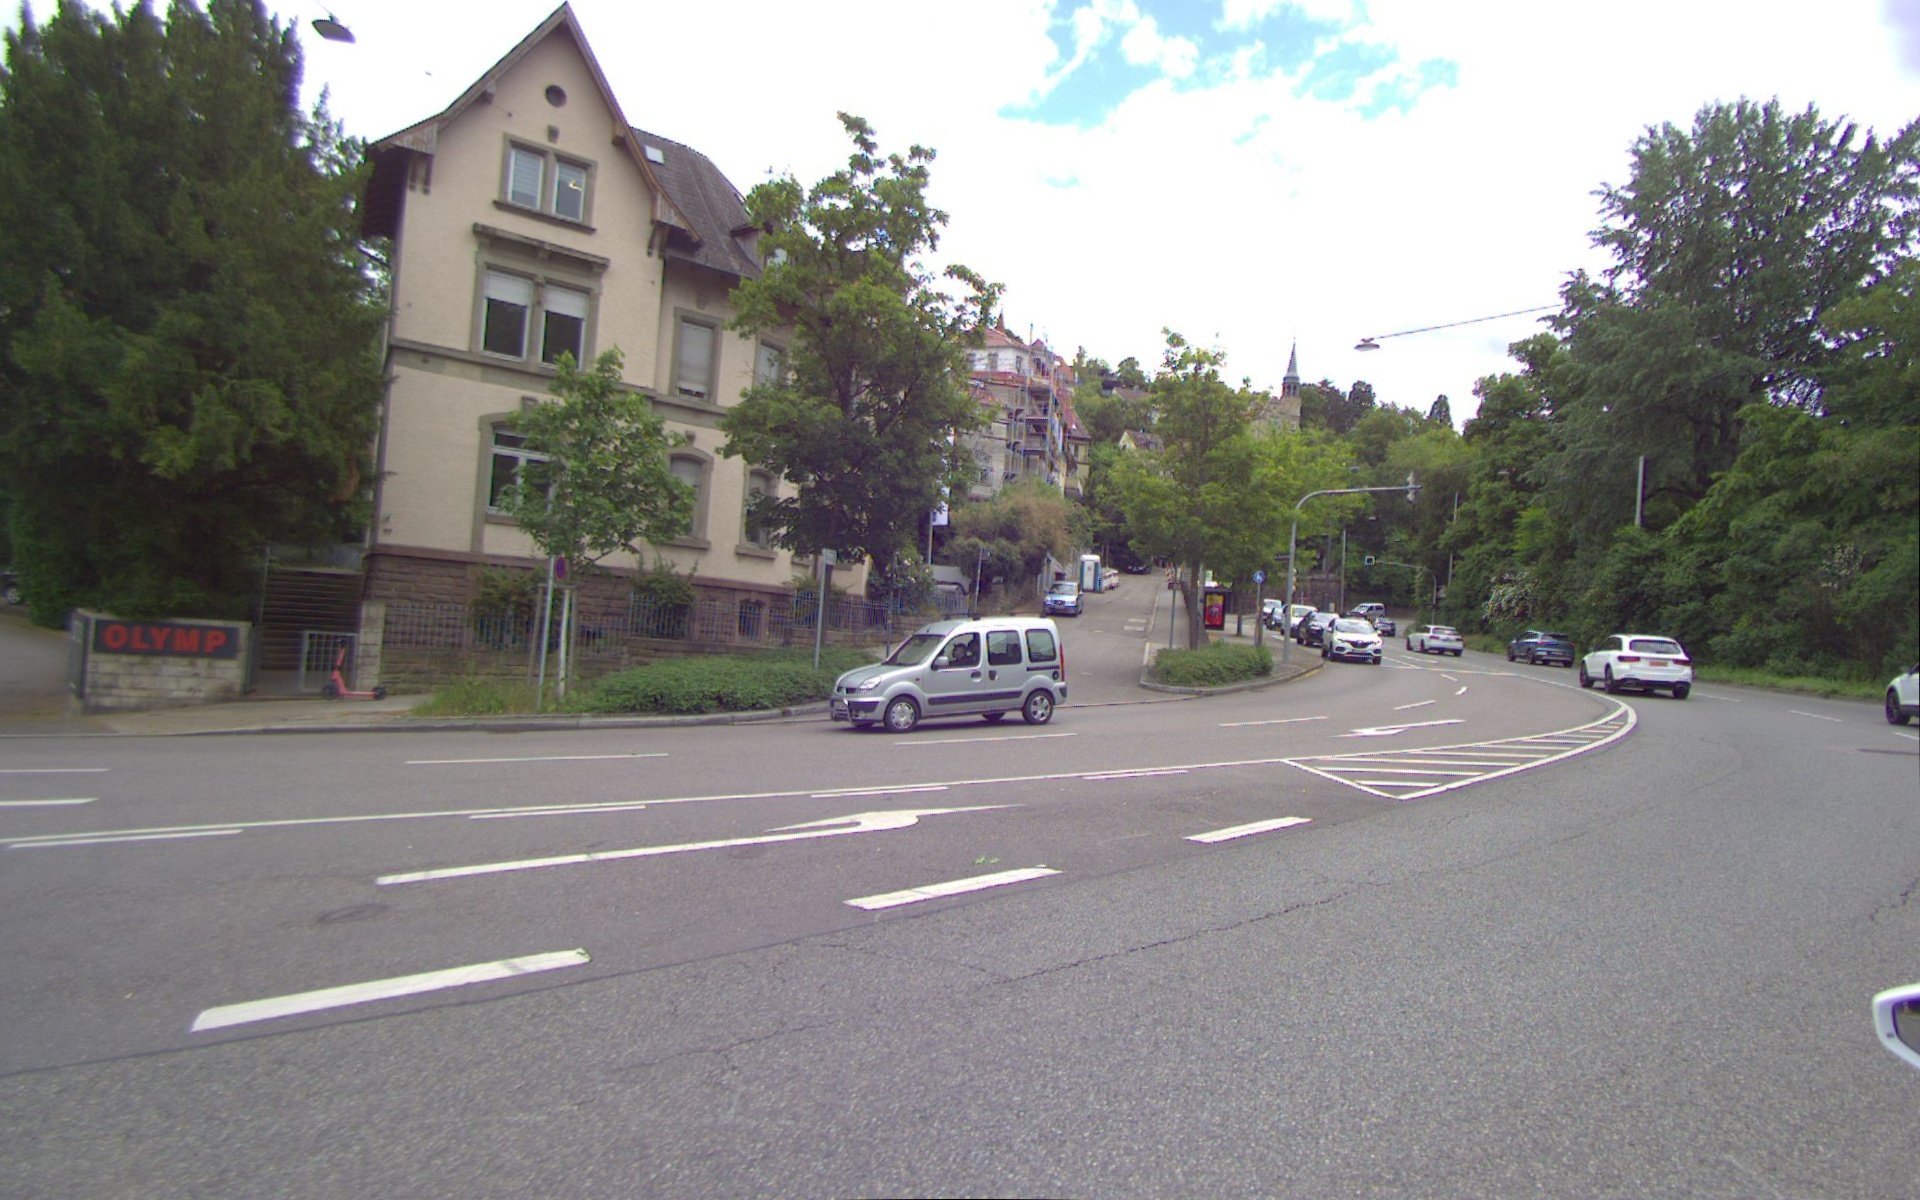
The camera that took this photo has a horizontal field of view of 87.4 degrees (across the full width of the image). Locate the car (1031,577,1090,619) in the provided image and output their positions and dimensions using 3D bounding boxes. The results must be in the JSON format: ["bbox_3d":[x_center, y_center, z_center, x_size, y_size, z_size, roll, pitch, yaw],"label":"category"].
[{"bbox_3d":[4.711,-0.149,46.658,1.960,1.595,4.000,5,5,16],"label":"car"}]

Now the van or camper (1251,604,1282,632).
[{"bbox_3d":[24.970,1.424,81.980,1.960,2.040,5.564,4,1,14],"label":"van or camper"}]

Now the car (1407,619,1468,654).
[{"bbox_3d":[24.591,1.844,51.906,2.210,1.539,4.308,3,1,18],"label":"car"}]

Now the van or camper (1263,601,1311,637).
[{"bbox_3d":[19.613,1.088,60.403,1.960,1.921,5.460,4,0,11],"label":"van or camper"}]

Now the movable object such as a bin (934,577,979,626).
[{"bbox_3d":[-0.137,0.052,38.210,1.197,1.706,0.995,8,3,27],"label":"movable object such as a bin"}]

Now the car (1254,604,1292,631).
[{"bbox_3d":[21.010,1.153,67.606,1.960,1.541,3.993,5,1,12],"label":"car"}]

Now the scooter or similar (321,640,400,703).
[{"bbox_3d":[-11.879,1.403,19.932,1.186,1.175,0.552,-2,0,-9],"label":"scooter or similar"}]

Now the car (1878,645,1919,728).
[{"bbox_3d":[19.202,1.667,18.944,1.836,1.576,3.890,1,-2,28],"label":"car"}]

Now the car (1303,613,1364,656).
[{"bbox_3d":[16.951,1.530,45.756,1.863,1.815,4.762,1,-1,12],"label":"car"}]

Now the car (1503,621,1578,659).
[{"bbox_3d":[27.081,1.835,47.001,1.829,1.653,3.962,1,-1,11],"label":"car"}]

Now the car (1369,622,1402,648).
[{"bbox_3d":[34.944,2.870,82.459,1.964,2.040,3.993,1,-1,30],"label":"car"}]

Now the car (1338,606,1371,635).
[{"bbox_3d":[29.259,1.509,74.377,2.154,2.040,3.999,1,-1,23],"label":"car"}]

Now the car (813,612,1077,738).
[{"bbox_3d":[-0.225,1.170,16.769,3.993,1.855,1.902,1,-1,-31],"label":"car"}]

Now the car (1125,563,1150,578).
[{"bbox_3d":[16.771,-2.767,94.757,1.526,1.296,3.597,2,0,23],"label":"car"}]

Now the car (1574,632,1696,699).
[{"bbox_3d":[18.935,1.772,28.374,1.846,1.674,4.341,2,-1,20],"label":"car"}]

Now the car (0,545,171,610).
[{"bbox_3d":[-29.263,-0.709,33.645,3.926,2.040,1.998,1,0,-8],"label":"car"}]

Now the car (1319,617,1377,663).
[{"bbox_3d":[14.989,1.500,38.981,1.864,1.676,4.376,1,-1,18],"label":"car"}]
